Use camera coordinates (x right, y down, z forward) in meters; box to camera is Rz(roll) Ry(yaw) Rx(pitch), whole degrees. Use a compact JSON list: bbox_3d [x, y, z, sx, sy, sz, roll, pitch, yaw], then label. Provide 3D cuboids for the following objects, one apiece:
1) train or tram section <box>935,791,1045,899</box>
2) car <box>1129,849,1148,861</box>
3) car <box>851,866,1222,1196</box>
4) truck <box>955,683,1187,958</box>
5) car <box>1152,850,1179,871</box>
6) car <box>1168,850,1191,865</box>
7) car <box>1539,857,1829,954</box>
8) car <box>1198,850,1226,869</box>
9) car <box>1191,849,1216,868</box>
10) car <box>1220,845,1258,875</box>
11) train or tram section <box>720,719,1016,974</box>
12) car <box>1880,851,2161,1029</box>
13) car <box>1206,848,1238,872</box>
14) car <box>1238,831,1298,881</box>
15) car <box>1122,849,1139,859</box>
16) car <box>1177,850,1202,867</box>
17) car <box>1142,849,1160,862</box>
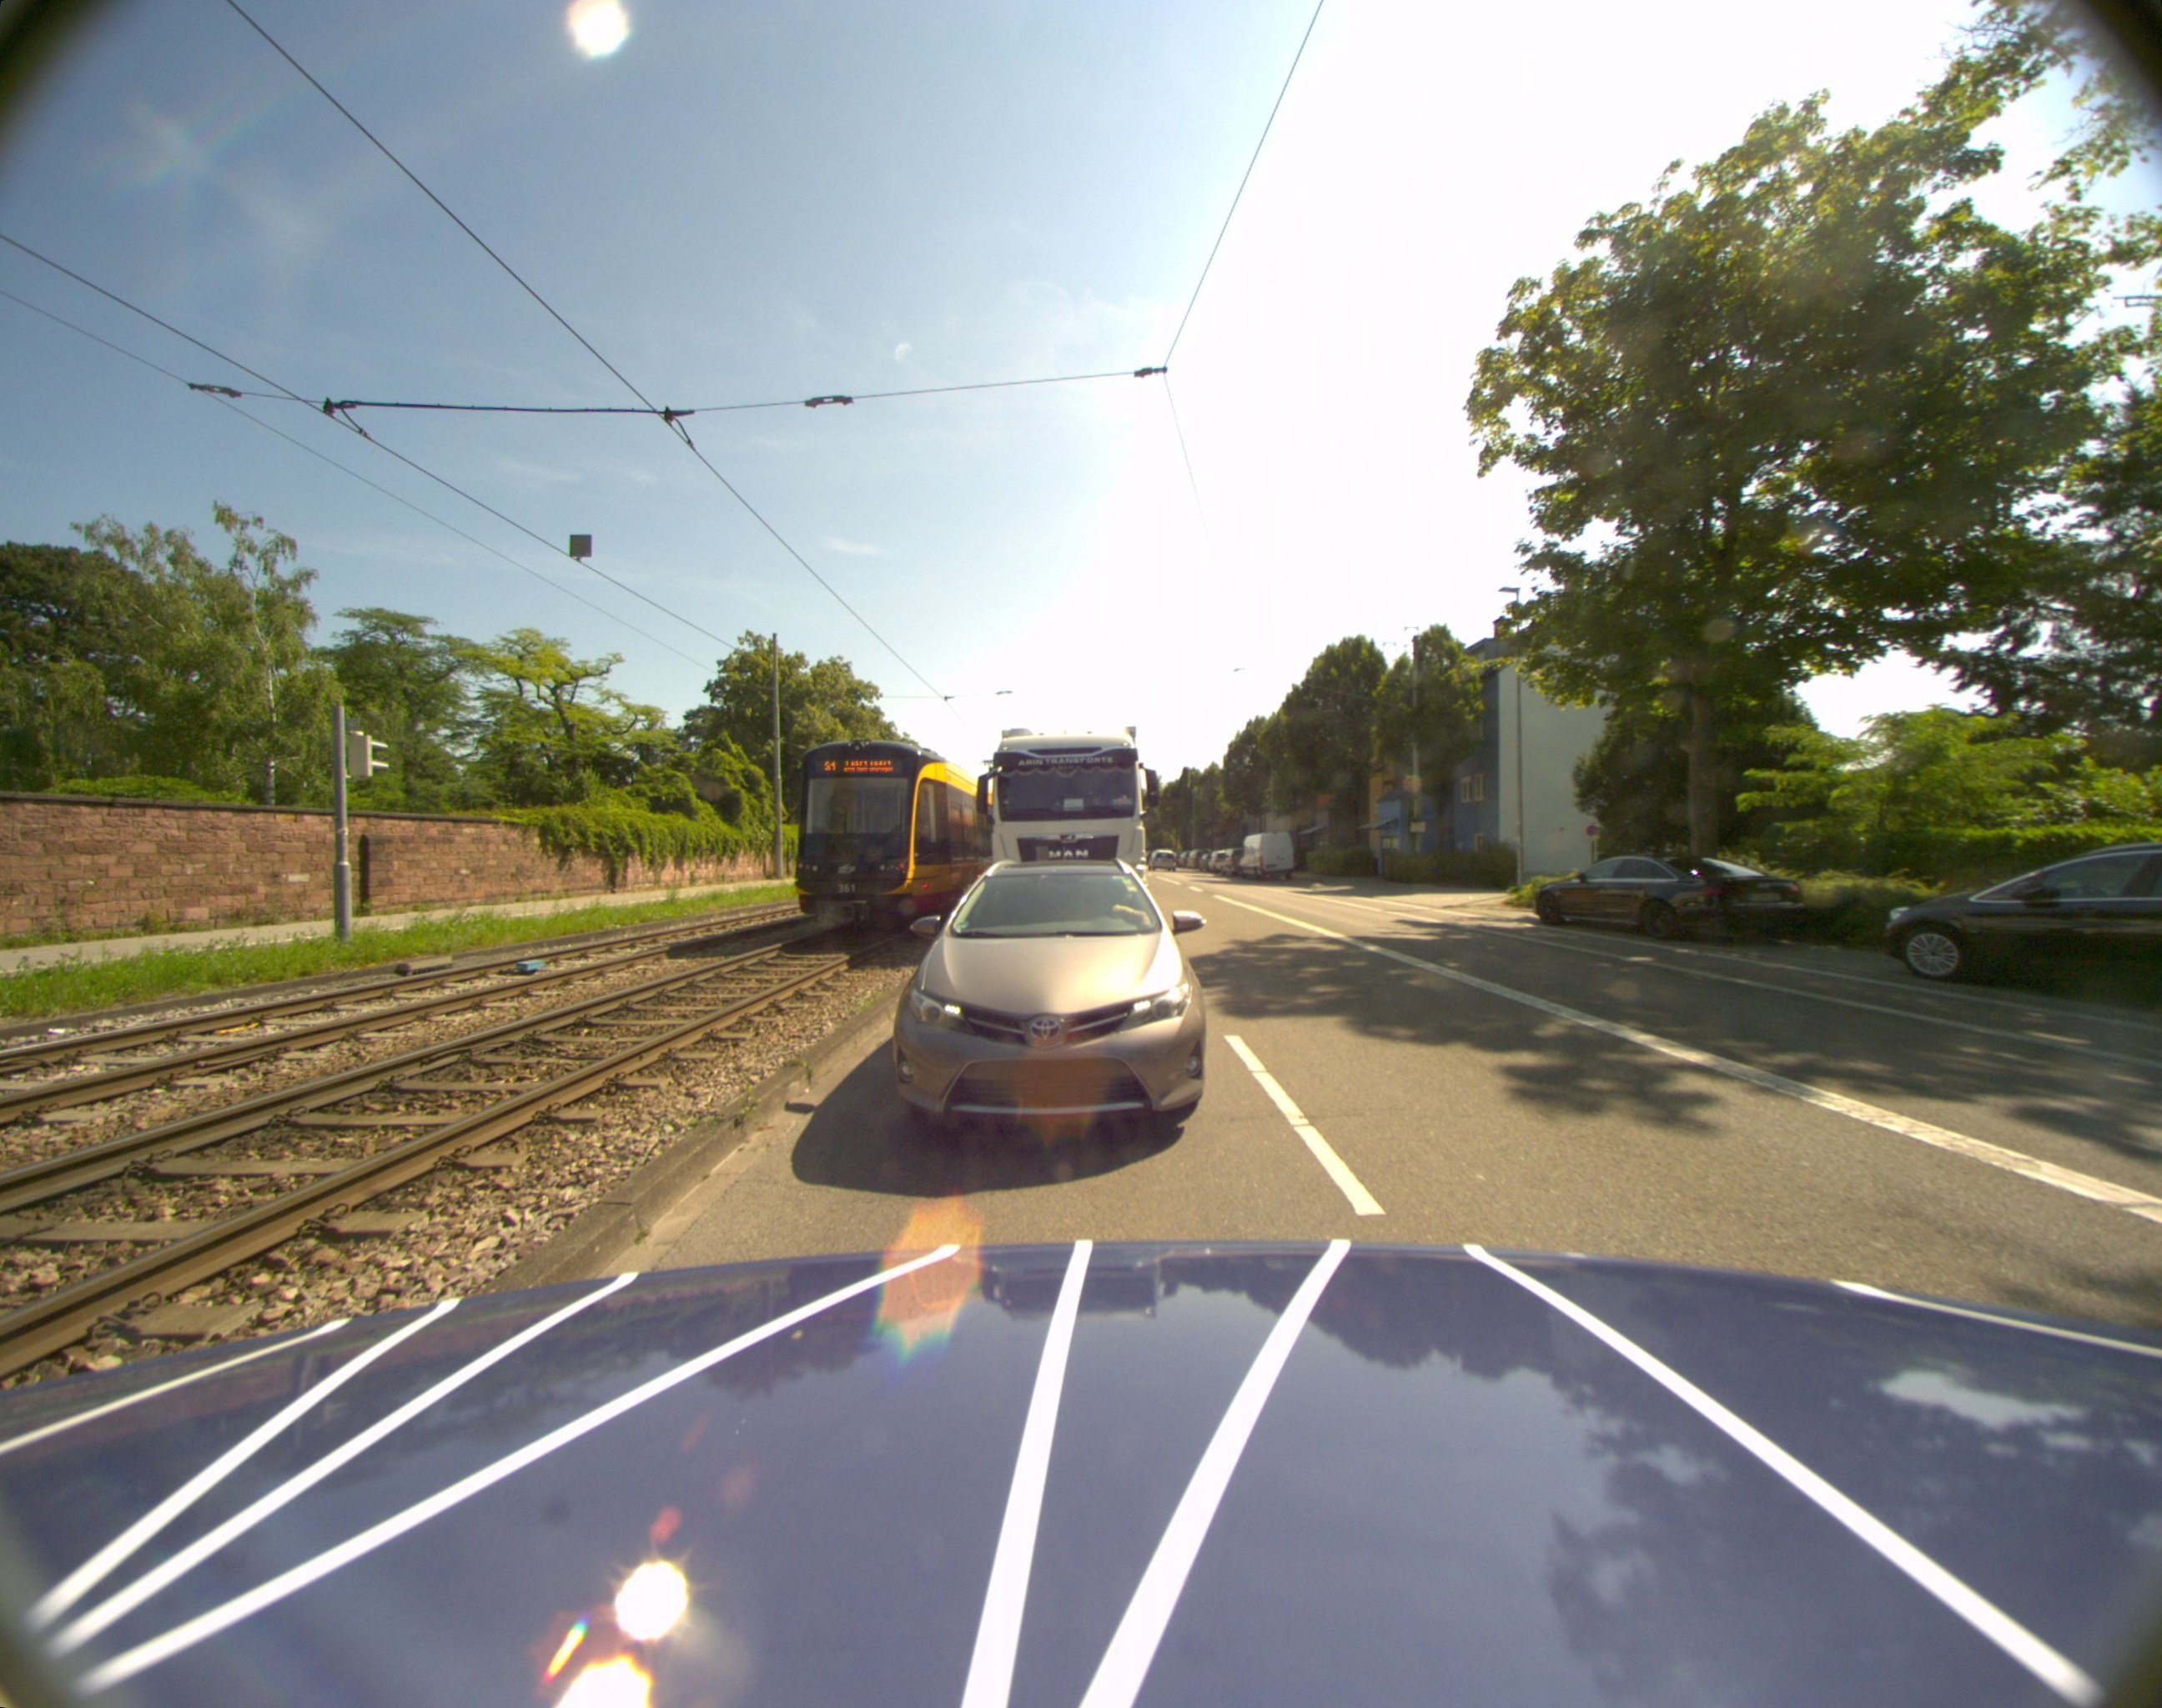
[{"bbox_3d":[-3.596,-0.450,35.887,2.679,3.631,18.954,-2,1,0],"label":"train or tram section"},{"bbox_3d":[7.989,0.150,106.442,1.680,1.493,3.763,-4,1,-10],"label":"car"},{"bbox_3d":[-0.189,0.877,5.627,1.719,1.439,4.030,-2,0,1],"label":"car"},{"bbox_3d":[-0.073,-0.549,18.589,3.391,4.046,14.285,-2,0,1],"label":"truck"},{"bbox_3d":[6.534,0.493,58.887,1.847,1.587,4.000,0,1,3],"label":"car"},{"bbox_3d":[10.442,0.374,80.494,1.679,1.493,3.765,-4,0,-3],"label":"car"},{"bbox_3d":[10.575,0.800,13.858,1.679,1.427,4.457,0,0,-1],"label":"car"},{"bbox_3d":[11.017,0.448,64.239,1.679,1.493,3.766,-4,0,1],"label":"car"},{"bbox_3d":[11.073,0.379,68.939,1.679,1.493,3.766,-4,0,1],"label":"car"},{"bbox_3d":[10.952,0.401,52.915,1.679,1.925,4.457,-4,1,1],"label":"car"},{"bbox_3d":[-3.770,-0.215,18.797,2.676,3.631,15.303,-2,1,1],"label":"train or tram section"},{"bbox_3d":[10.580,0.775,7.112,1.679,1.603,4.241,0,0,-1],"label":"car"},{"bbox_3d":[10.883,0.450,58.817,1.679,1.659,4.147,-4,0,1],"label":"car"},{"bbox_3d":[10.909,0.075,44.839,2.016,2.636,6.086,-4,0,1],"label":"car"},{"bbox_3d":[7.219,-0.041,111.199,1.680,1.493,3.762,0,1,-10],"label":"car"},{"bbox_3d":[10.695,0.442,75.052,1.679,1.493,3.765,-4,0,-3],"label":"car"},{"bbox_3d":[9.045,0.207,98.301,1.679,1.493,3.764,-4,0,-5],"label":"car"}]
